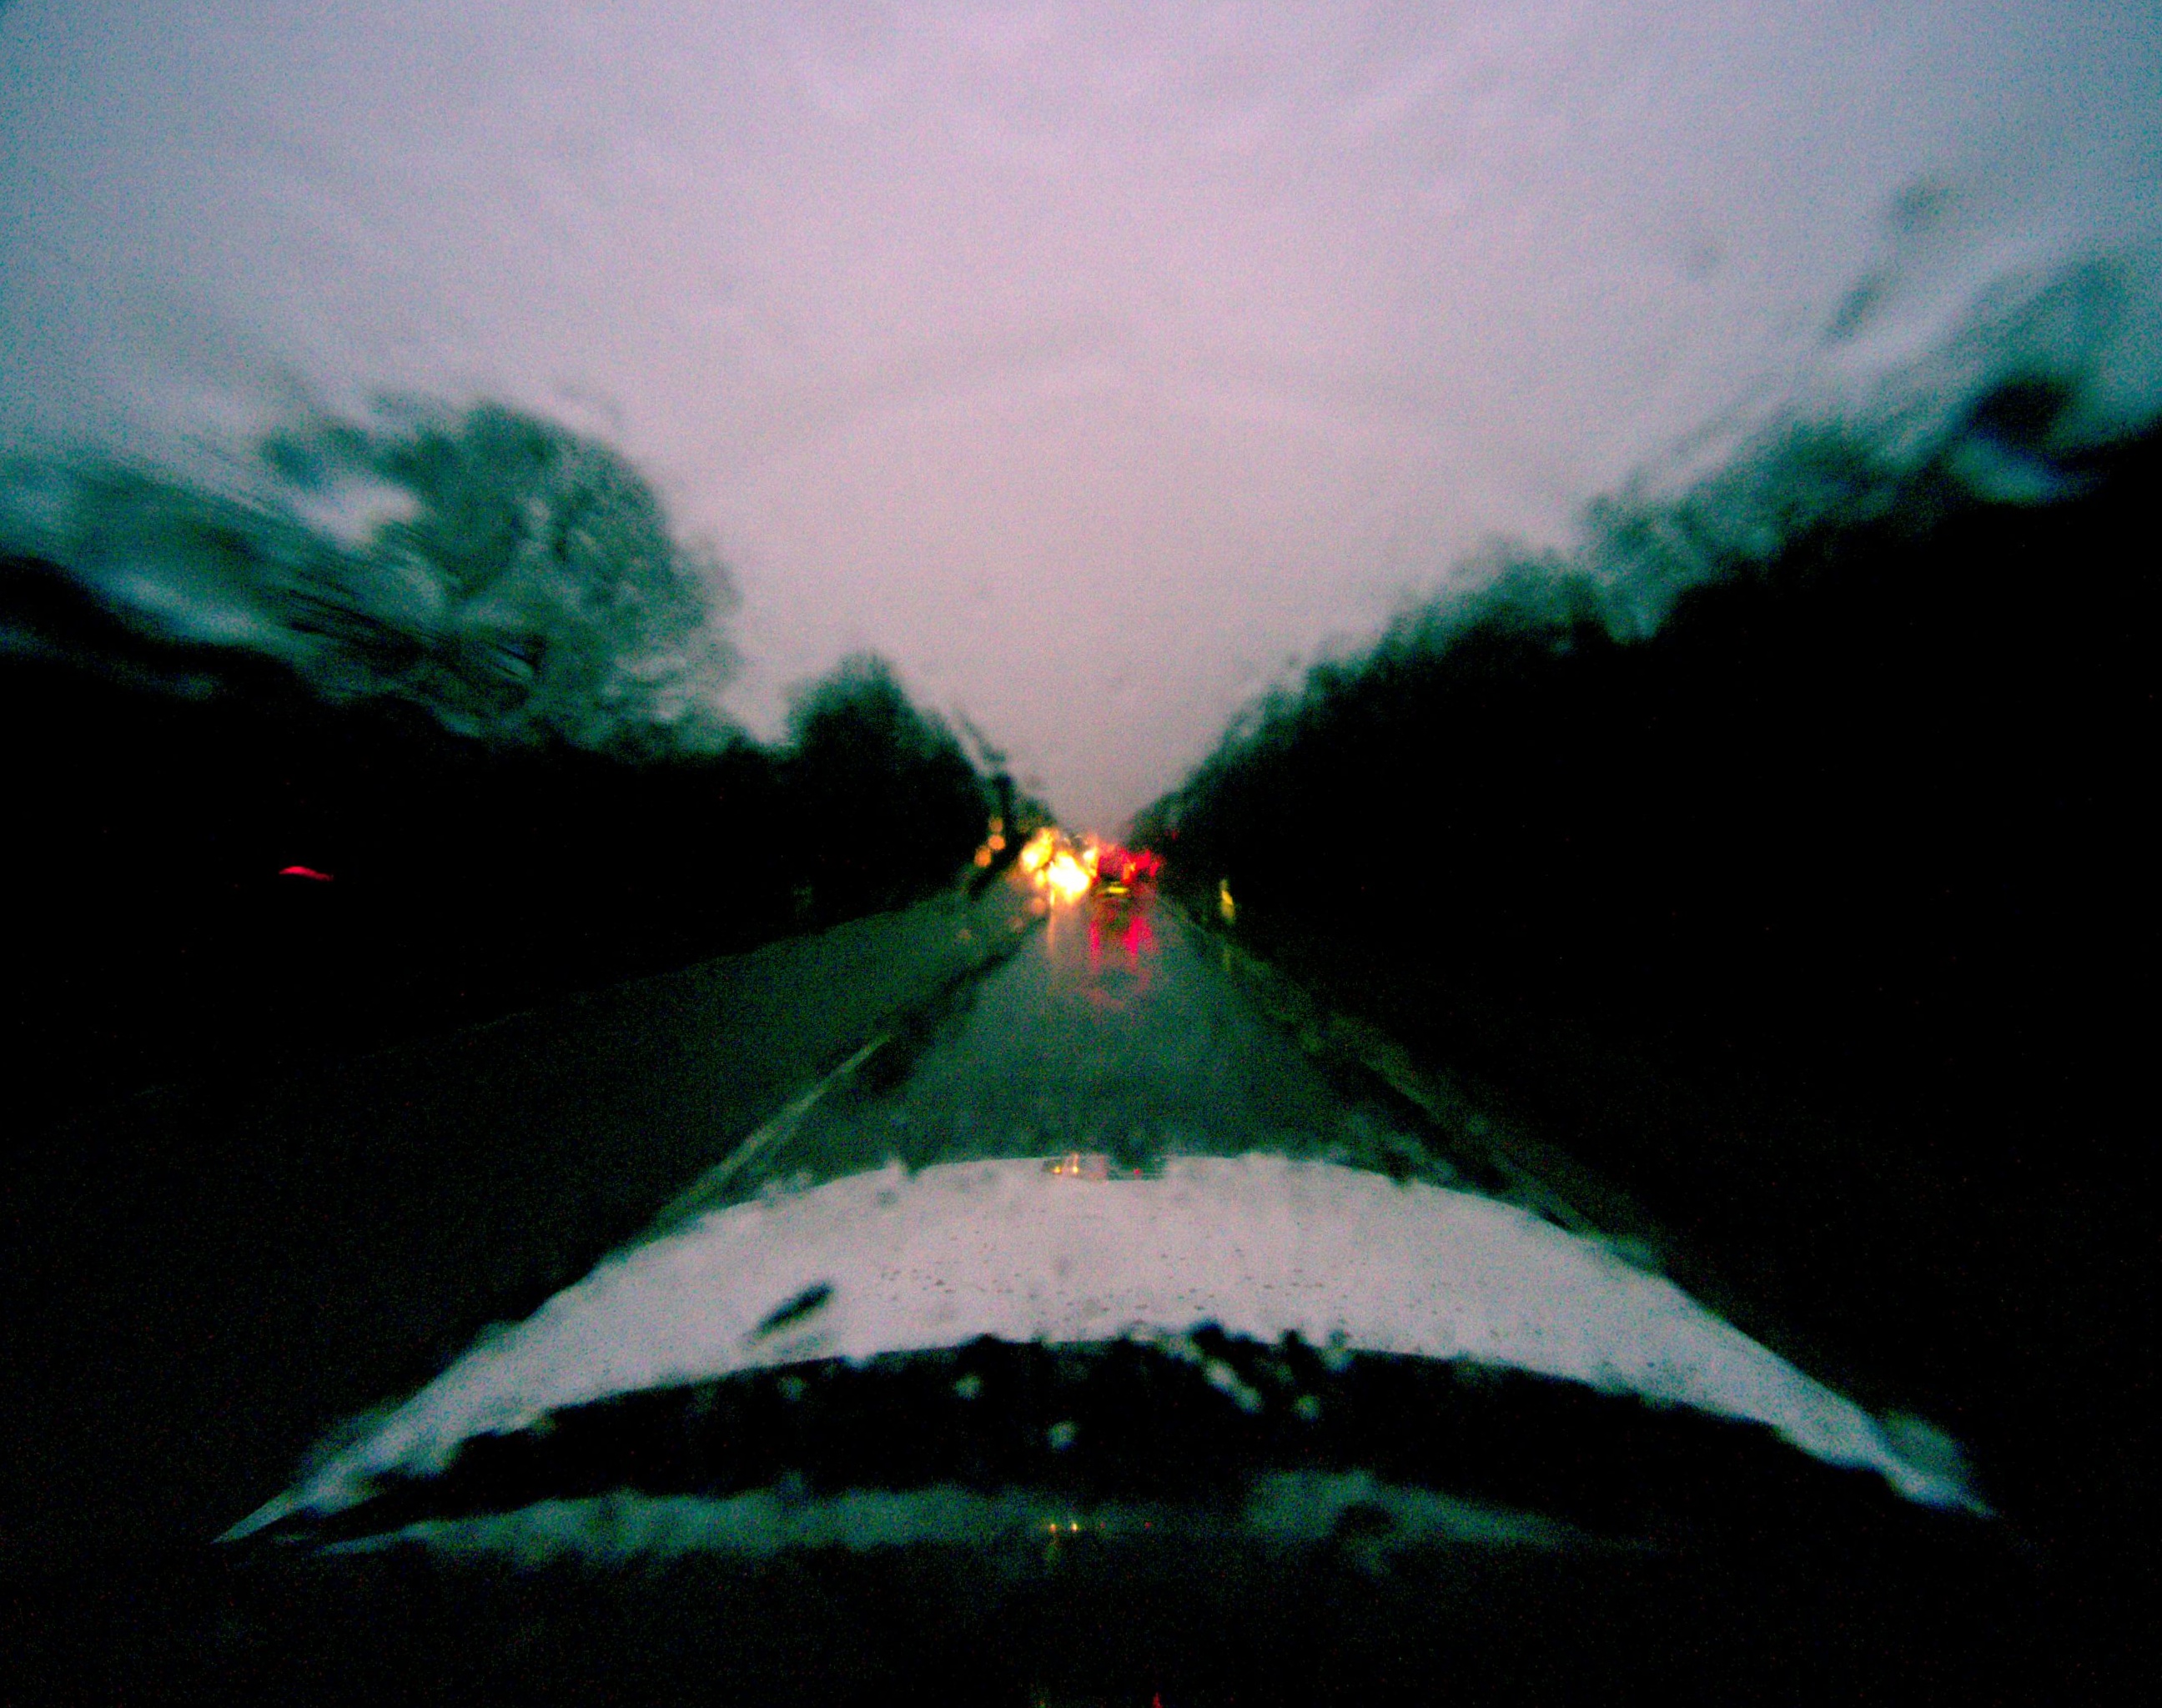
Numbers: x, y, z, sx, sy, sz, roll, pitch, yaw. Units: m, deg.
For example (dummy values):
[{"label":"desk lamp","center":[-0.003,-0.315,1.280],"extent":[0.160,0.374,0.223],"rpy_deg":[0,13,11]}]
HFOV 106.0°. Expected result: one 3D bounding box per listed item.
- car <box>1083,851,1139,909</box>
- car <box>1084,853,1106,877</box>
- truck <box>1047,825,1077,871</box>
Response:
[{"label":"car","center":[0.949,0.766,25.637],"extent":[1.642,1.672,3.515],"rpy_deg":[-1,0,2]},{"label":"car","center":[1.137,0.861,65.340],"extent":[1.727,1.779,4.001],"rpy_deg":[-1,0,1]},{"label":"truck","center":[-1.852,-0.614,81.437],"extent":[2.632,4.416,5.555],"rpy_deg":[-1,0,1]}]
